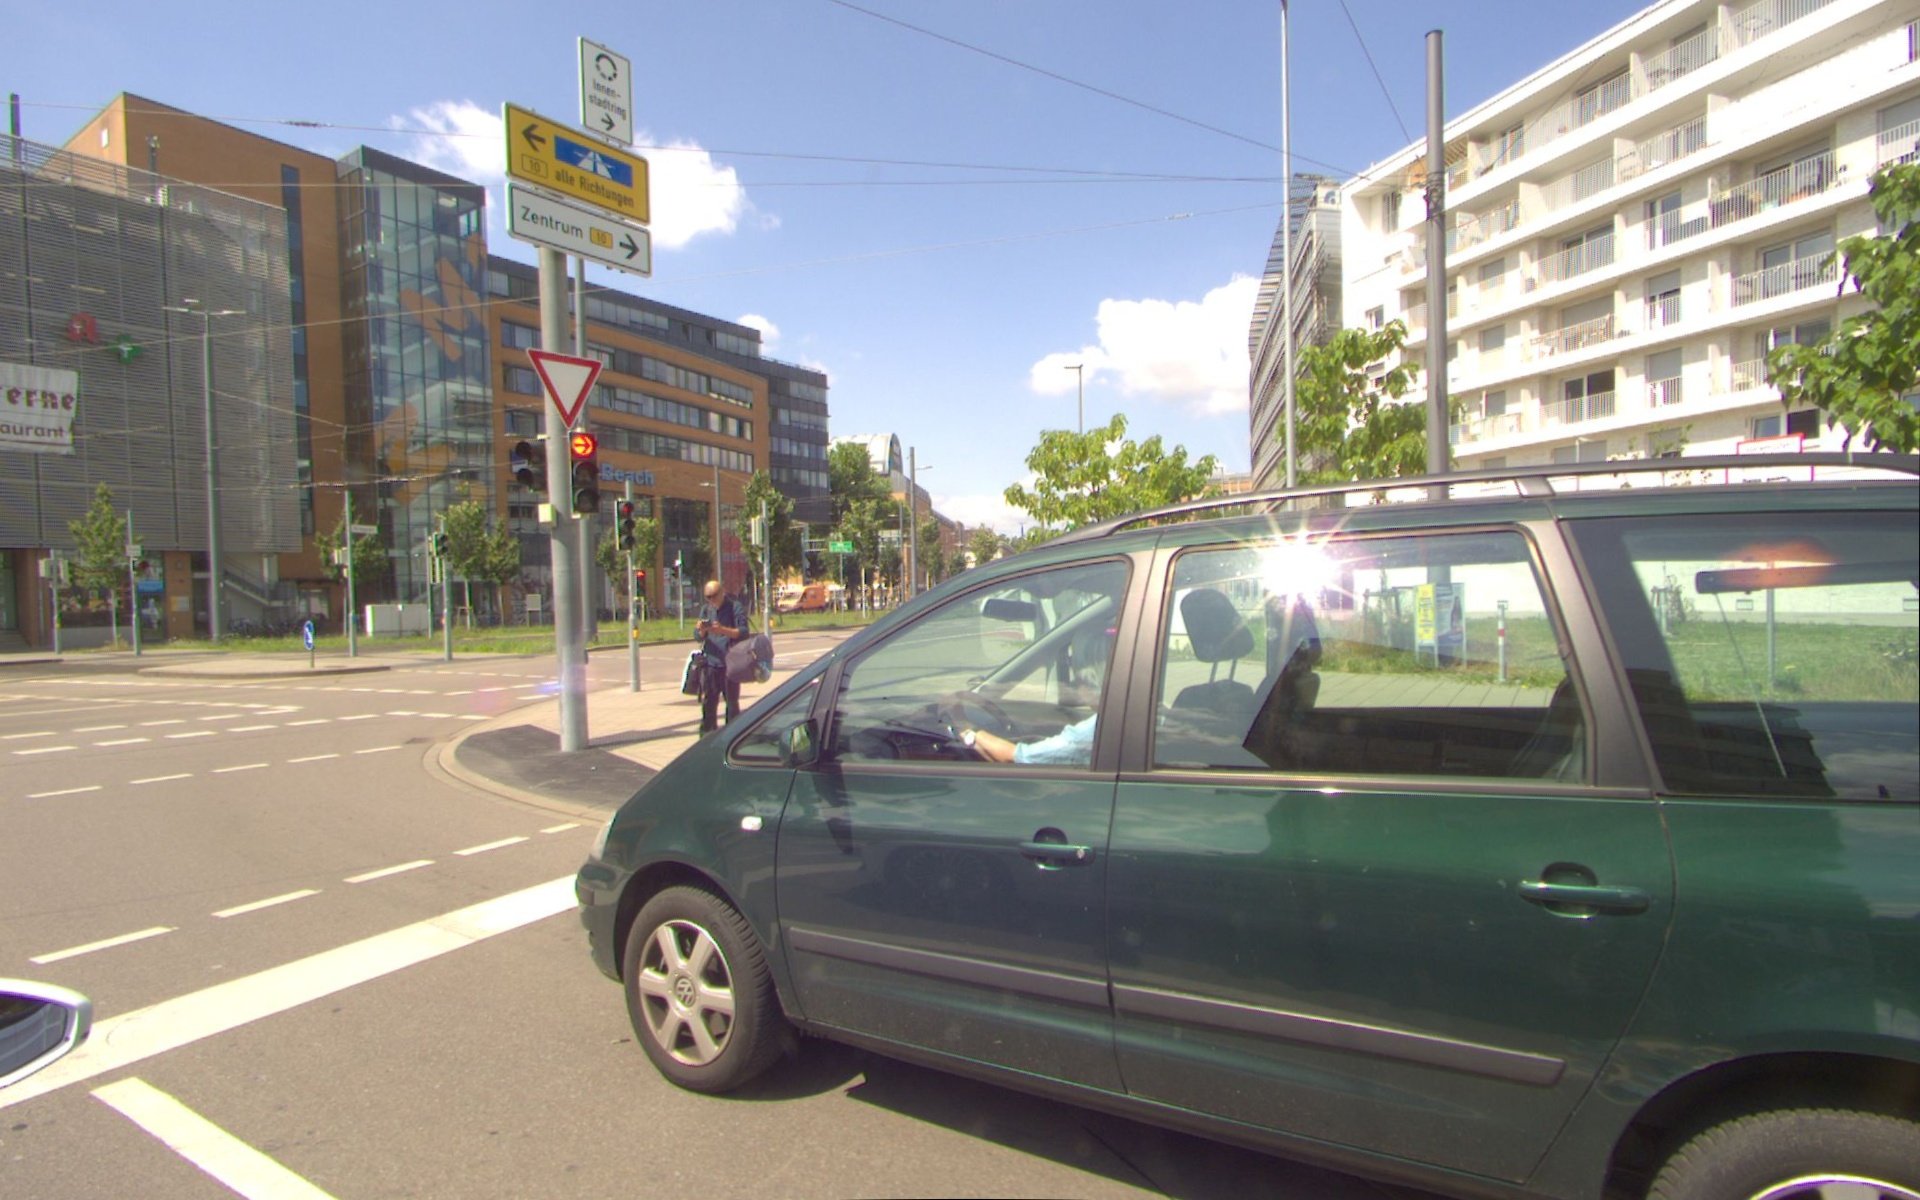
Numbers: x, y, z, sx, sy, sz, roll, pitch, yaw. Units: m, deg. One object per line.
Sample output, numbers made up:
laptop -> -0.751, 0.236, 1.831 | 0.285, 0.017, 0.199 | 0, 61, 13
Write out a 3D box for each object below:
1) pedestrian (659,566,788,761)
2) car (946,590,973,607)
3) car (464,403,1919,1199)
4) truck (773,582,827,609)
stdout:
pedestrian -> -2.181, 0.564, 9.355 | 0.901, 1.725, 0.808 | -2, 2, 5
car -> -0.070, -0.194, 127.886 | 1.967, 2.040, 3.987 | -1, 0, 24
car -> 0.794, 0.611, 3.062 | 4.959, 1.779, 1.815 | -1, -1, 32
truck -> -13.165, -0.351, 82.620 | 1.965, 2.113, 5.512 | 0, 0, 20
